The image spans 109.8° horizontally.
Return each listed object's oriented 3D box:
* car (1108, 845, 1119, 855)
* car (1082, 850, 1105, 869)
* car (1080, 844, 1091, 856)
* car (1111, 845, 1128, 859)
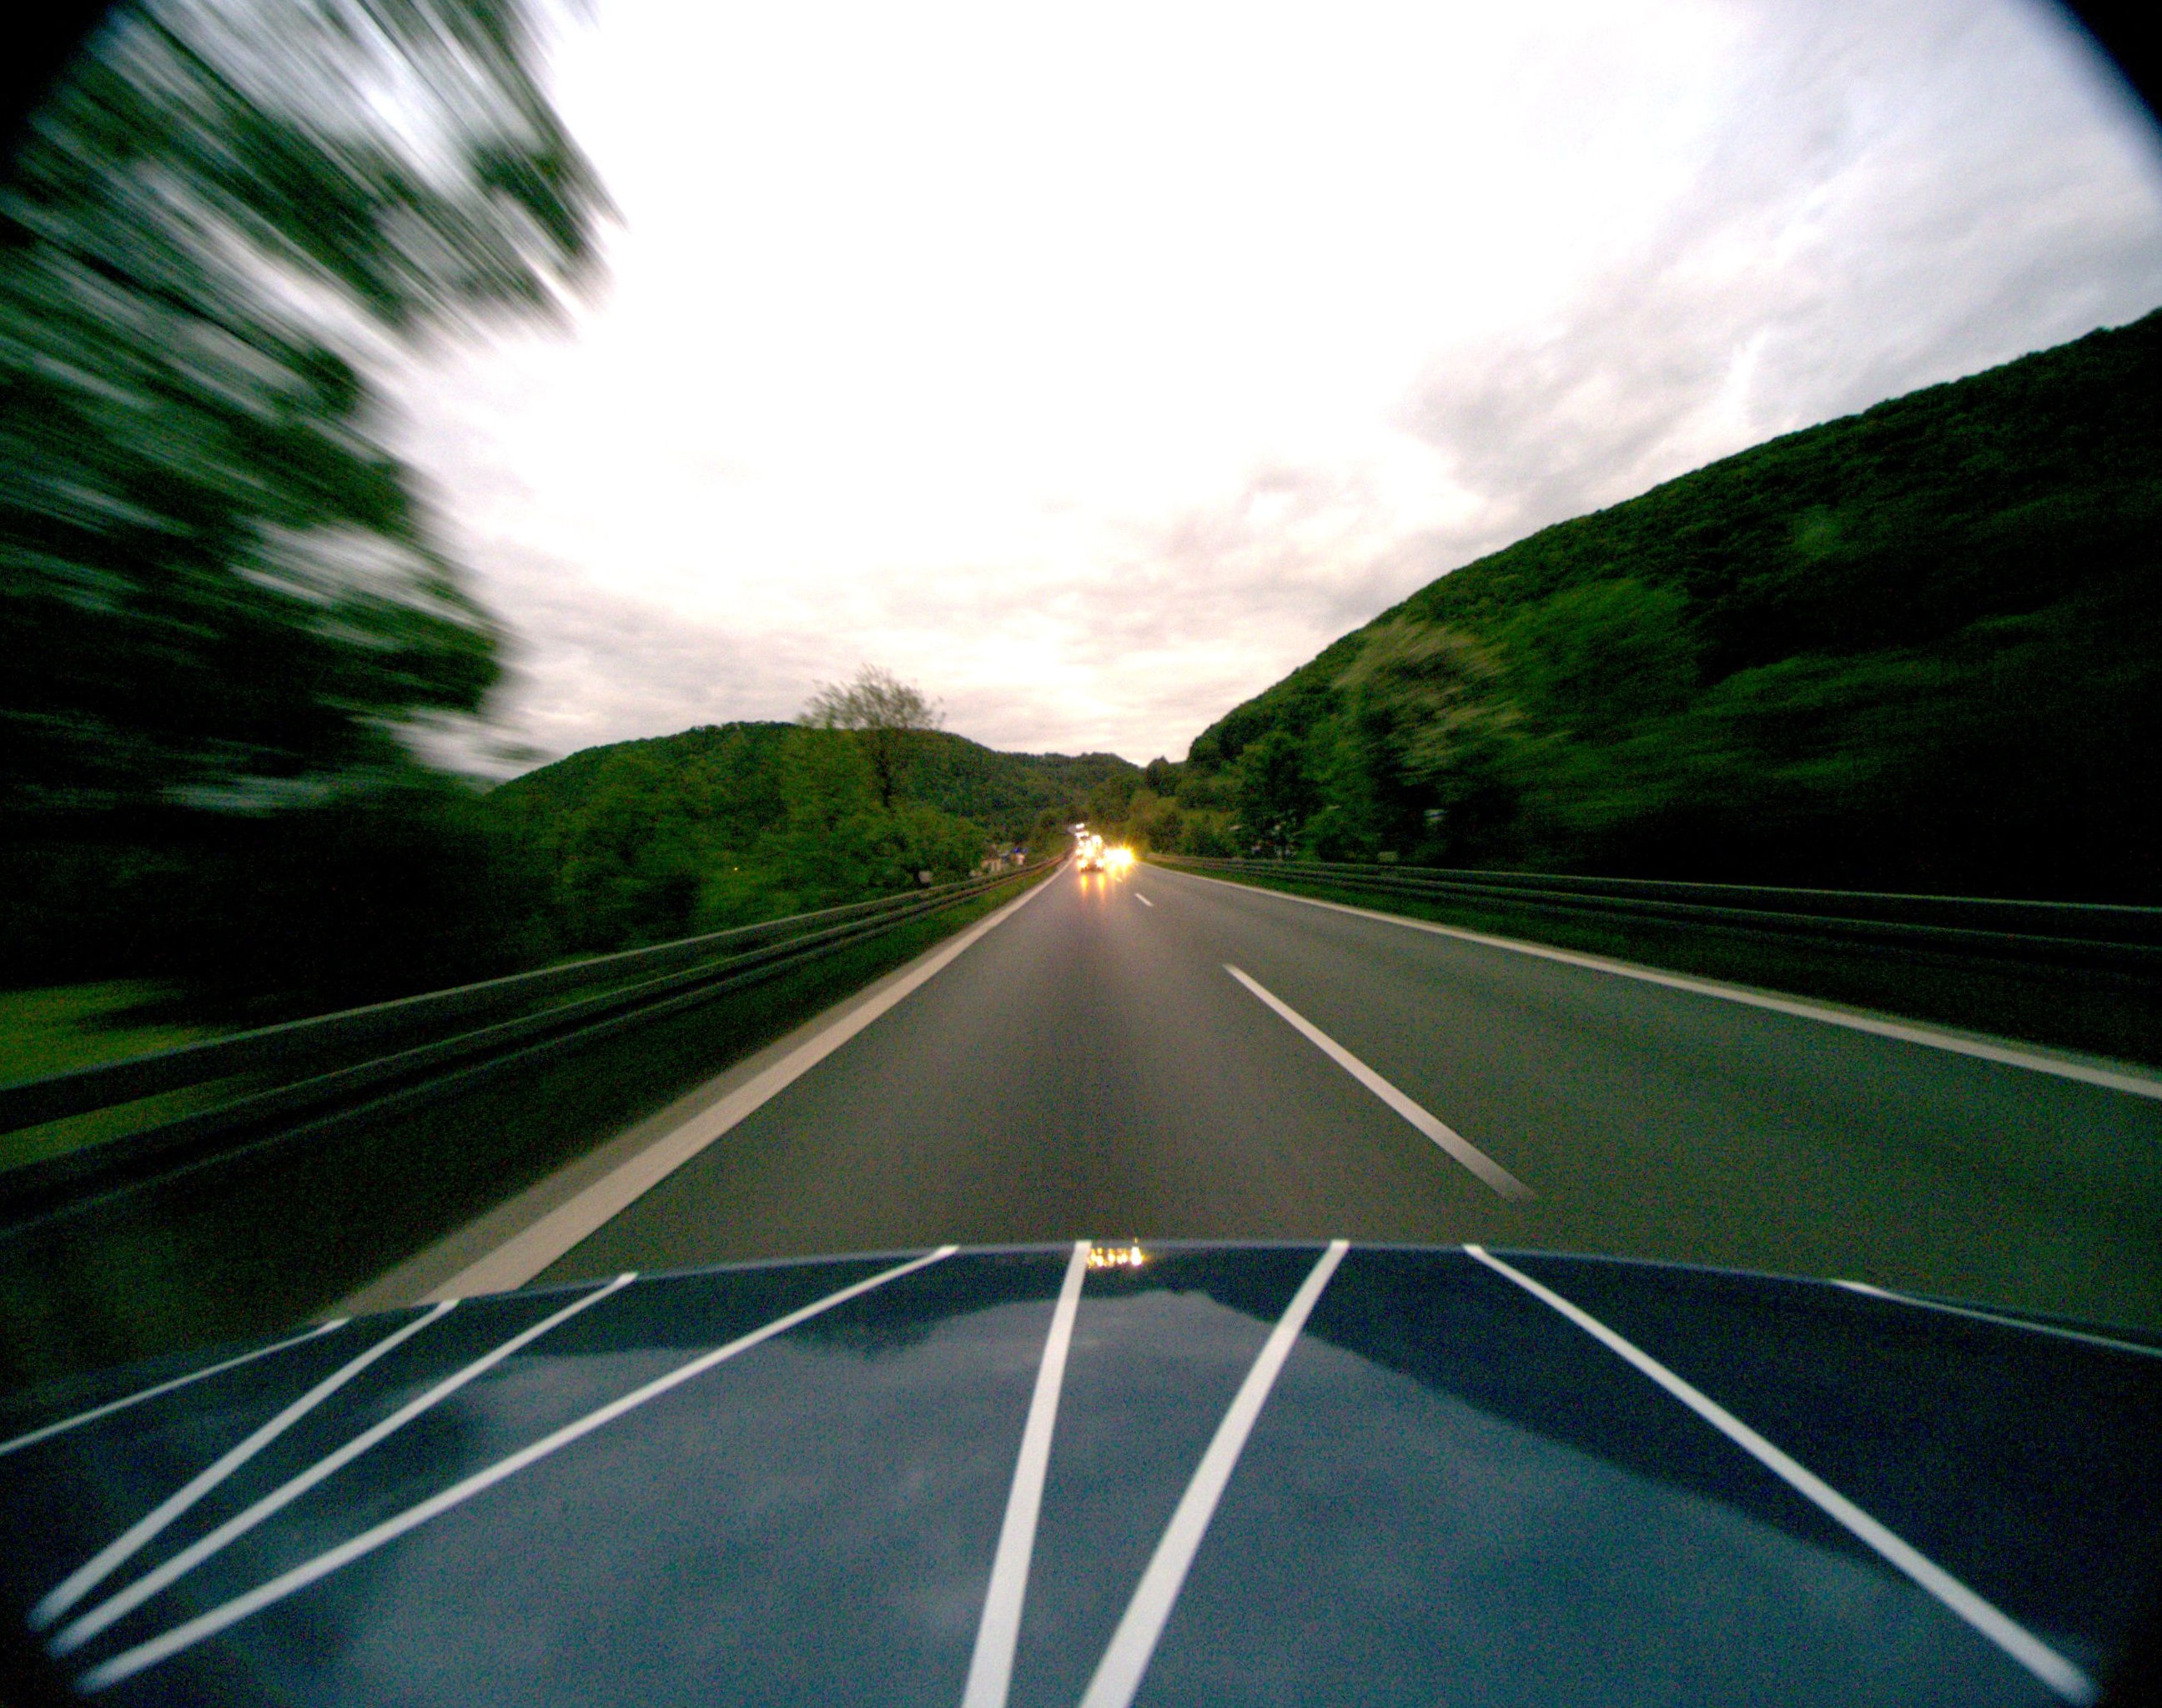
[{"bbox_3d":[5.184,-0.593,121.733,1.690,1.424,3.670,-2,-2,0],"label":"car"},{"bbox_3d":[1.001,0.467,61.494,1.690,1.443,3.670,-2,-2,0],"label":"car"},{"bbox_3d":[0.711,-0.651,118.960,1.737,1.641,3.670,-2,-2,0],"label":"car"},{"bbox_3d":[4.488,-0.218,88.164,1.690,1.459,3.768,-2,-2,0],"label":"car"}]
